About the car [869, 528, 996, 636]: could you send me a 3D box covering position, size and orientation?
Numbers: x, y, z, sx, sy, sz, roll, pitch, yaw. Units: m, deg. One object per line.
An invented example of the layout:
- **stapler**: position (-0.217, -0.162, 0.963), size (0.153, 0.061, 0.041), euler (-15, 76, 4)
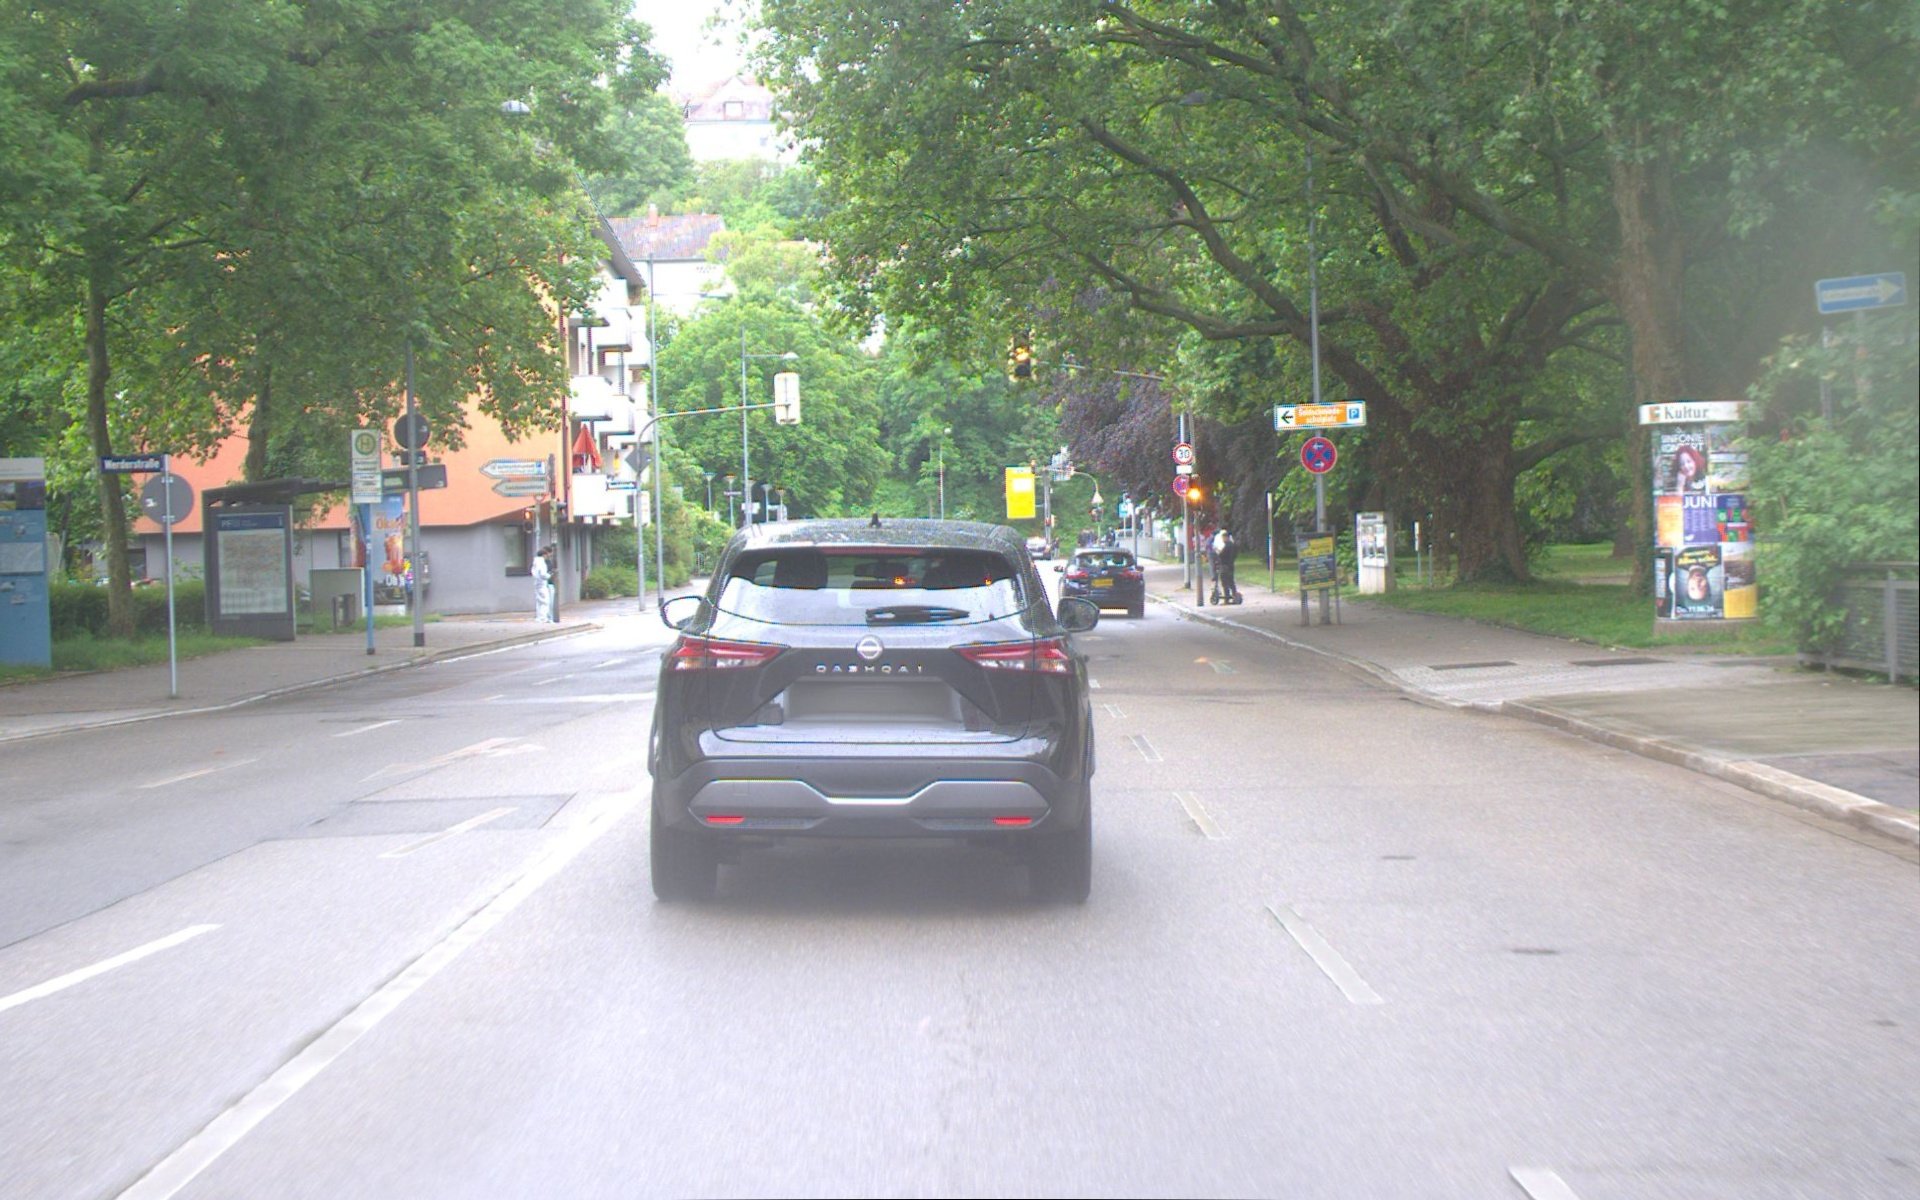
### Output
- **car**: position (-0.415, -0.299, 56.734), size (1.946, 1.679, 4.000), euler (-1, 0, 1)

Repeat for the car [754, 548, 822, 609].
- **car**: position (-5.305, -0.675, 106.364), size (1.821, 1.790, 3.865), euler (0, 1, 1)

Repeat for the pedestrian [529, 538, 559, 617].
- **pedestrian**: position (-9.410, -0.511, 77.766), size (0.666, 1.785, 0.722), euler (0, 1, -7)

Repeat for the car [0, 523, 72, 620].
- **car**: position (-18.263, -0.532, 62.426), size (3.833, 1.728, 1.880), euler (0, 1, -2)

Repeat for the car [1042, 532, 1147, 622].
- **car**: position (2.911, -0.490, 75.218), size (1.945, 1.810, 4.000), euler (-3, 0, -2)

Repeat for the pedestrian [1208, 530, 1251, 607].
- **pedestrian**: position (6.320, -0.742, 80.588), size (0.667, 1.785, 0.721), euler (-1, 2, -42)

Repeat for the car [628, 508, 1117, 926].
- **car**: position (-0.468, 0.406, 15.393), size (1.894, 1.623, 4.001), euler (0, 1, -4)

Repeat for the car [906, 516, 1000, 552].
- **car**: position (-0.474, -4.362, 227.949), size (6.076, 2.347, 2.422), euler (0, 1, -3)
